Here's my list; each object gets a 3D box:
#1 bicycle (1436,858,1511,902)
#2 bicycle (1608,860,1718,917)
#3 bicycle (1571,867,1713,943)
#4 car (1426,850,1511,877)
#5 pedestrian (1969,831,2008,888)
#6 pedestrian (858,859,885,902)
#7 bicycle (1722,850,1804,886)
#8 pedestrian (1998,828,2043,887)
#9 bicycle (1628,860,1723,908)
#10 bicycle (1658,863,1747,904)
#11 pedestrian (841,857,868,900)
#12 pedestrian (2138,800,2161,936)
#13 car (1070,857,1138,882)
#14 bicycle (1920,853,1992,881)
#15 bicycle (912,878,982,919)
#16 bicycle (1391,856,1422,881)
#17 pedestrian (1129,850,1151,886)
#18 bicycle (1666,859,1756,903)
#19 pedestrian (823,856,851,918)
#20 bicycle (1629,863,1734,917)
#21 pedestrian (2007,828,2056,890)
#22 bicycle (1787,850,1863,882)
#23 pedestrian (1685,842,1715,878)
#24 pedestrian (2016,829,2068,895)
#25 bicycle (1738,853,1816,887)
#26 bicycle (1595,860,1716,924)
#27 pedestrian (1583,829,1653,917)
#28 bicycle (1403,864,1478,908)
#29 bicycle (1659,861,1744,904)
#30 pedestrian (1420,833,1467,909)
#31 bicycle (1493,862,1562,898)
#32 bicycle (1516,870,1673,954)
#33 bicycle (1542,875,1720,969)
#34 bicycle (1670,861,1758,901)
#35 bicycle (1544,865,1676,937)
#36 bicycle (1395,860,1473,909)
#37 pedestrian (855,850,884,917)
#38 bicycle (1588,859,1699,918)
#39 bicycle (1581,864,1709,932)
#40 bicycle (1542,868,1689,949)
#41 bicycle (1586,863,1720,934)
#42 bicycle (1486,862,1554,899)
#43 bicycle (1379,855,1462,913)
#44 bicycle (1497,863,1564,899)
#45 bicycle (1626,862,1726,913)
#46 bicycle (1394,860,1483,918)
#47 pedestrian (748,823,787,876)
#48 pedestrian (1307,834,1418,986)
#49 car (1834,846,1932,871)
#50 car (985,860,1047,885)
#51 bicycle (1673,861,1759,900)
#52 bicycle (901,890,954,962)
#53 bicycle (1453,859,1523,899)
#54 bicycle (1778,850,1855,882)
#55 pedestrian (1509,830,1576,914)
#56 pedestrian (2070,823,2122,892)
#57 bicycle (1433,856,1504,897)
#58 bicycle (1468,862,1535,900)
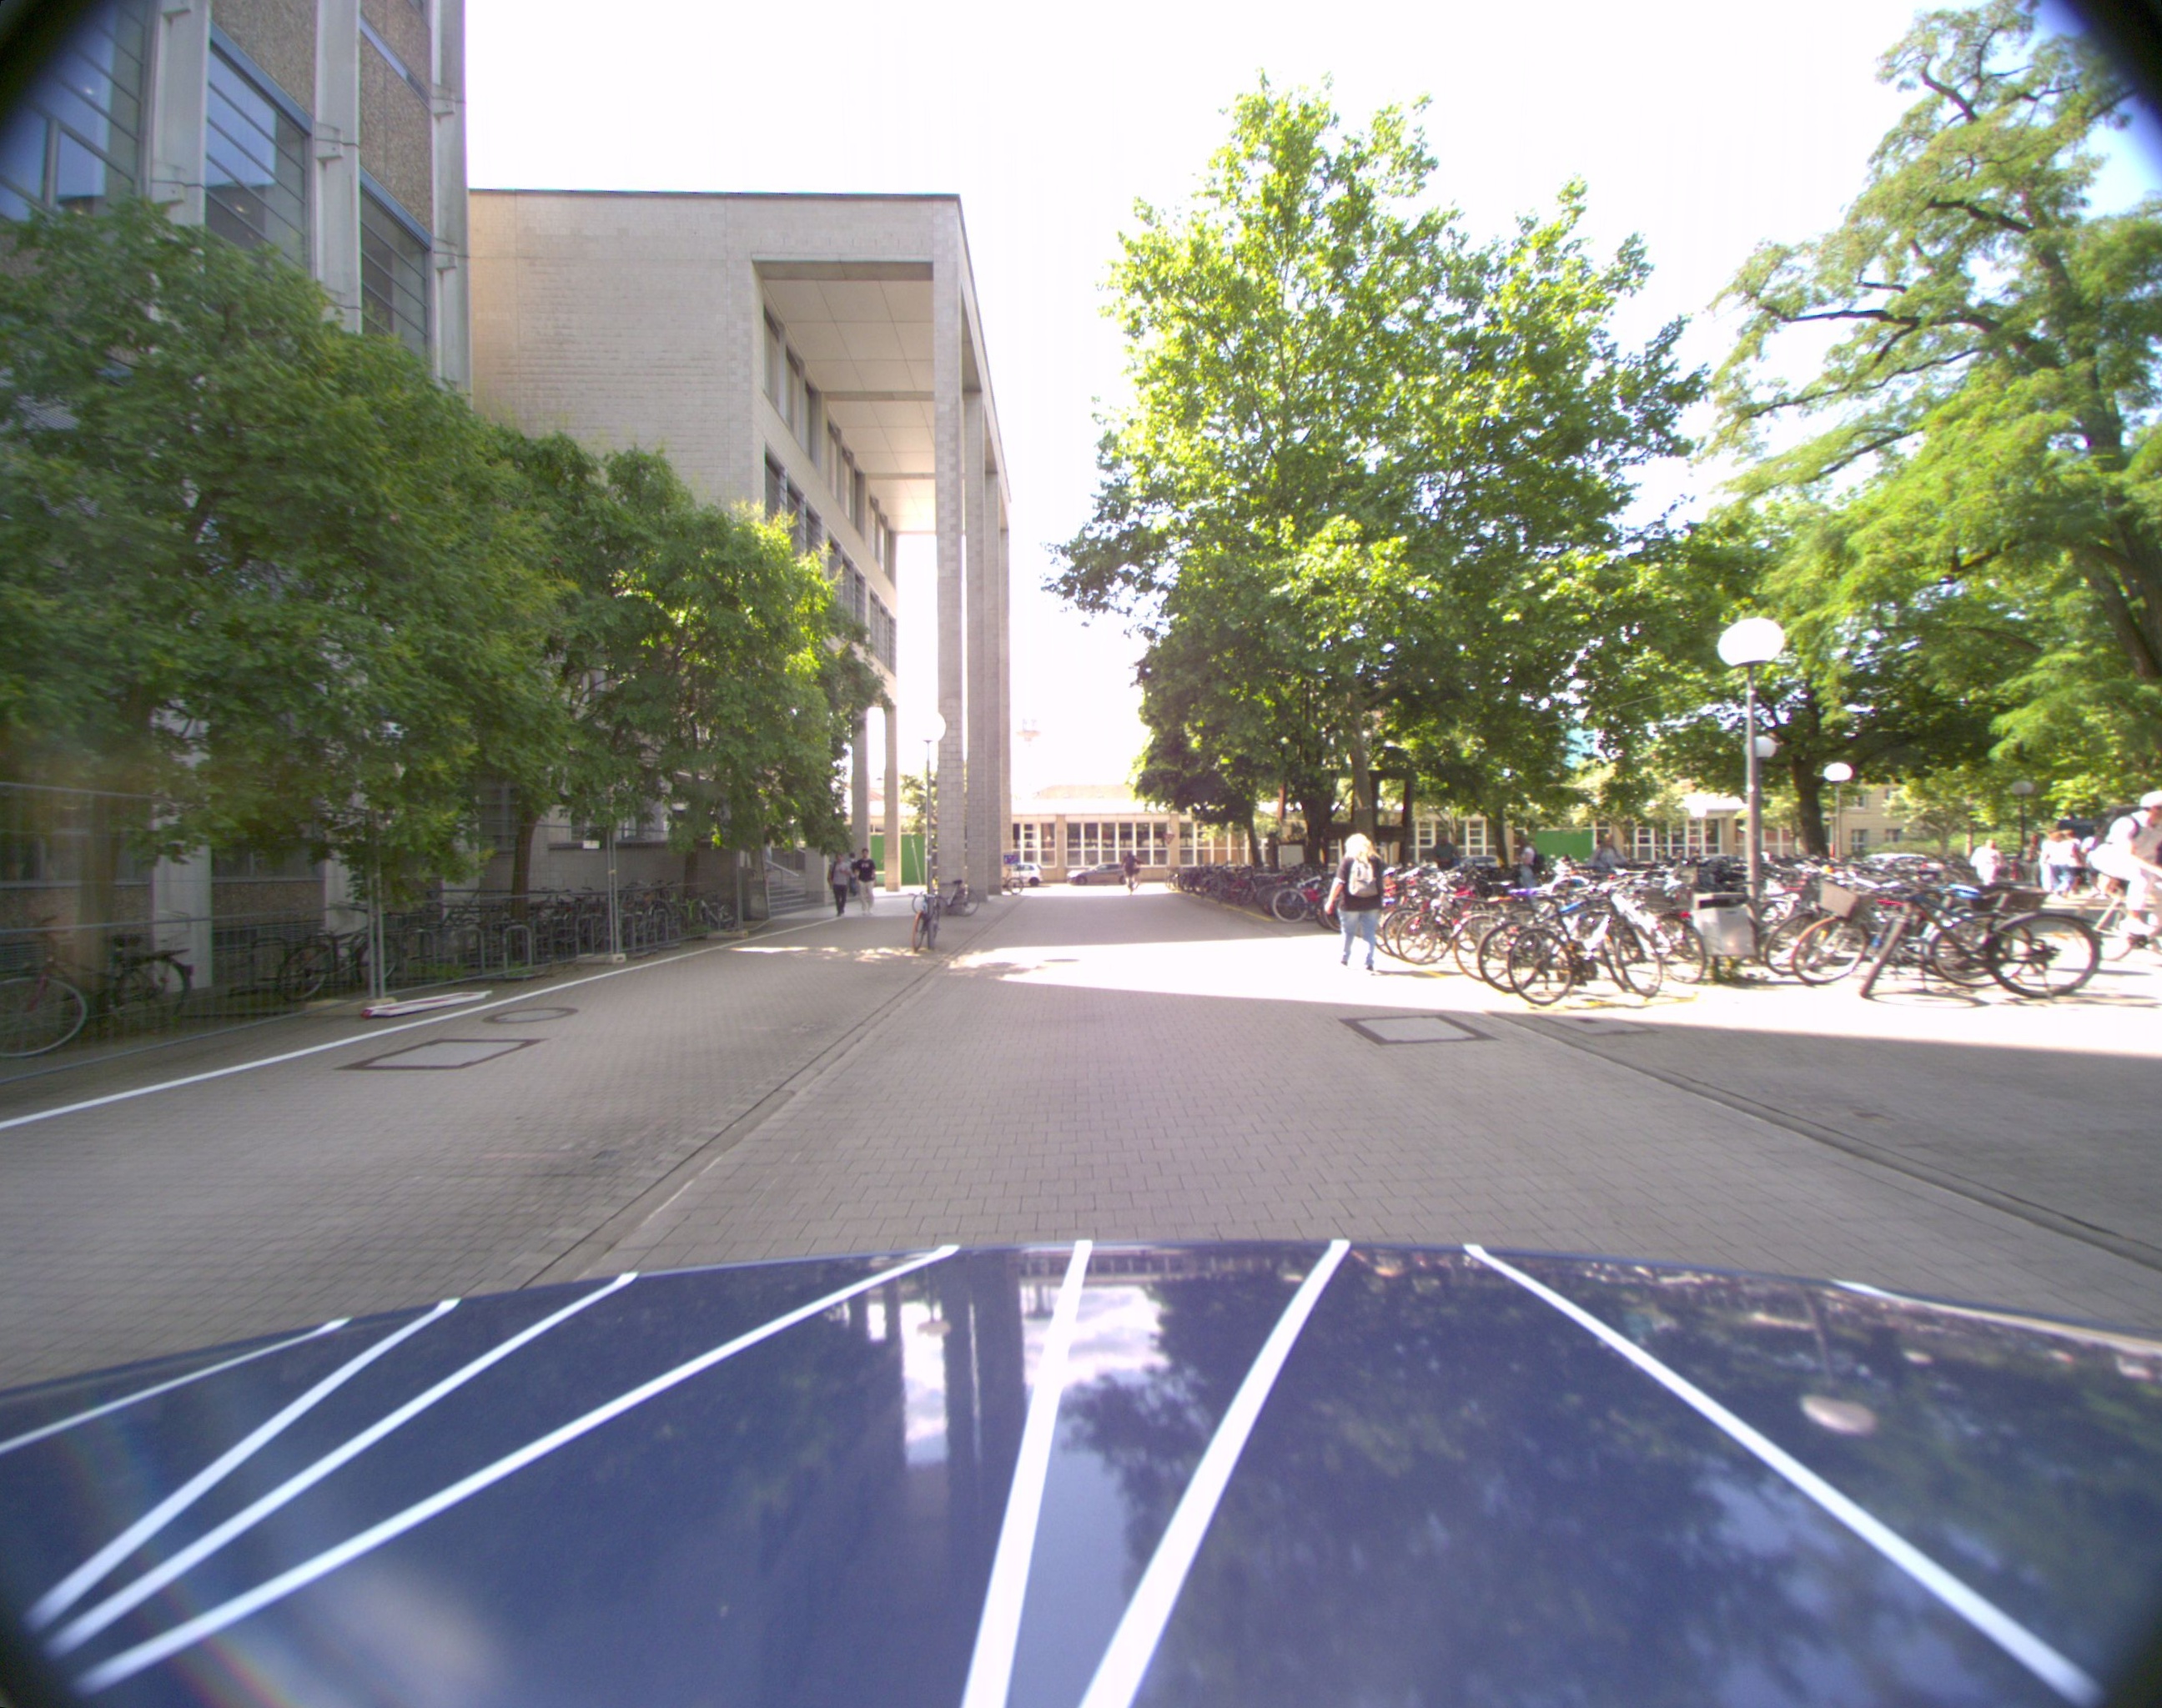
[{"bbox_3d":[10.397,0.687,20.151,1.695,1.101,0.504,-1,1,36],"label":"bicycle"},{"bbox_3d":[11.641,0.679,15.245,1.695,1.077,0.475,-1,1,44],"label":"bicycle"},{"bbox_3d":[8.483,0.754,11.568,1.695,1.077,0.475,-1,1,31],"label":"bicycle"},{"bbox_3d":[24.826,0.582,48.811,4.536,1.608,1.837,-1,1,-2],"label":"car"},{"bbox_3d":[28.441,0.169,23.819,0.671,1.761,0.502,-2,1,-9],"label":"pedestrian"},{"bbox_3d":[-7.852,0.977,28.442,0.809,1.608,0.739,-1,1,-32],"label":"pedestrian"},{"bbox_3d":[21.354,0.427,23.814,0.475,1.077,1.854,-2,1,-38],"label":"bicycle"},{"bbox_3d":[28.536,0.109,23.086,0.659,1.764,0.609,-2,1,-9],"label":"pedestrian"},{"bbox_3d":[14.071,0.688,18.029,0.475,1.077,1.695,-2,1,-38],"label":"bicycle"},{"bbox_3d":[17.366,0.801,21.279,0.475,1.077,1.854,-2,1,-38],"label":"bicycle"},{"bbox_3d":[-8.853,0.959,29.680,0.899,1.660,0.675,-1,0,-7],"label":"pedestrian"},{"bbox_3d":[14.787,0.170,10.110,0.884,1.804,0.832,-2,1,-36],"label":"pedestrian"},{"bbox_3d":[1.444,0.991,48.629,4.209,1.468,1.653,-1,2,-1],"label":"car"},{"bbox_3d":[35.174,0.492,30.576,0.474,1.077,1.856,-2,1,-17],"label":"bicycle"},{"bbox_3d":[-3.461,1.146,19.728,1.744,1.033,0.449,0,-1,-5],"label":"bicycle"},{"bbox_3d":[15.670,0.686,36.567,0.803,1.165,1.890,-2,0,41],"label":"bicycle"},{"bbox_3d":[2.785,0.662,36.056,0.883,1.645,0.702,-1,0,-8],"label":"pedestrian"},{"bbox_3d":[15.976,0.670,19.297,0.475,1.077,1.695,-2,1,-38],"label":"bicycle"},{"bbox_3d":[-6.653,0.886,20.704,0.703,1.645,0.881,-1,0,-18],"label":"pedestrian"},{"bbox_3d":[12.626,0.739,16.009,1.695,1.077,0.475,-1,1,44],"label":"bicycle"},{"bbox_3d":[26.263,0.139,20.999,0.908,1.670,0.768,-2,1,-34],"label":"pedestrian"},{"bbox_3d":[26.203,0.419,26.778,0.475,1.077,1.854,-2,1,-38],"label":"bicycle"},{"bbox_3d":[29.838,0.287,36.626,0.874,1.674,0.728,-1,0,-4],"label":"pedestrian"},{"bbox_3d":[25.188,0.204,19.921,0.908,1.670,0.768,-2,1,-34],"label":"pedestrian"},{"bbox_3d":[23.157,0.529,25.307,0.475,1.077,1.854,-2,1,-38],"label":"bicycle"},{"bbox_3d":[10.244,0.661,13.616,1.695,1.077,0.475,-1,1,35],"label":"bicycle"},{"bbox_3d":[10.728,0.364,15.199,0.771,1.693,0.905,-2,1,-34],"label":"pedestrian"},{"bbox_3d":[9.335,0.824,19.753,1.695,1.101,0.504,-1,1,36],"label":"bicycle"},{"bbox_3d":[16.578,0.748,20.327,0.475,1.077,1.695,-2,1,-38],"label":"bicycle"},{"bbox_3d":[8.837,0.393,18.528,0.771,1.796,0.708,-2,1,-33],"label":"pedestrian"},{"bbox_3d":[14.587,0.838,24.873,0.504,1.101,1.902,-2,1,-38],"label":"bicycle"},{"bbox_3d":[6.933,0.783,10.321,1.696,1.077,0.474,-1,1,13],"label":"bicycle"},{"bbox_3d":[6.651,0.820,9.247,1.697,1.077,0.474,-1,1,12],"label":"bicycle"},{"bbox_3d":[17.890,0.750,21.514,0.475,1.077,1.854,-2,1,-38],"label":"bicycle"},{"bbox_3d":[8.426,0.731,12.179,1.695,1.077,0.475,-1,1,31],"label":"bicycle"},{"bbox_3d":[8.941,0.761,19.269,1.695,1.193,0.577,-1,1,36],"label":"bicycle"},{"bbox_3d":[-5.848,0.792,21.004,0.703,1.792,0.881,-1,0,-18],"label":"pedestrian"},{"bbox_3d":[10.768,0.647,14.601,1.695,1.077,0.475,-1,1,35],"label":"bicycle"},{"bbox_3d":[9.426,0.715,12.761,1.695,1.077,0.475,-1,1,35],"label":"bicycle"},{"bbox_3d":[7.690,0.760,10.989,1.695,1.077,0.475,-1,1,35],"label":"bicycle"},{"bbox_3d":[9.224,0.703,12.318,1.695,1.077,0.475,-1,1,35],"label":"bicycle"},{"bbox_3d":[13.744,0.811,23.841,0.504,1.101,1.775,-2,1,-38],"label":"bicycle"},{"bbox_3d":[7.521,0.648,16.835,1.700,1.213,0.502,-2,1,-12],"label":"bicycle"},{"bbox_3d":[14.332,0.834,24.270,0.504,1.101,1.775,-2,1,-38],"label":"bicycle"},{"bbox_3d":[13.331,0.735,17.057,0.475,1.077,1.695,-2,1,-38],"label":"bicycle"},{"bbox_3d":[7.426,0.711,15.777,1.700,1.101,0.502,-2,1,-12],"label":"bicycle"},{"bbox_3d":[-10.875,-0.161,26.400,0.959,1.803,0.770,-2,1,0],"label":"pedestrian"},{"bbox_3d":[3.342,0.633,9.069,0.770,1.670,0.905,-3,1,-21],"label":"pedestrian"},{"bbox_3d":[51.728,0.277,49.055,4.536,1.532,1.838,-1,0,-2],"label":"car"},{"bbox_3d":[-4.108,1.163,48.424,3.776,1.468,1.653,0,2,-1],"label":"car"},{"bbox_3d":[18.424,0.748,22.093,0.475,1.077,1.854,-2,1,-38],"label":"bicycle"},{"bbox_3d":[-2.575,1.182,12.883,0.538,1.033,1.858,0,0,-1],"label":"bicycle"},{"bbox_3d":[11.814,0.710,22.080,1.695,1.101,0.633,-1,1,40],"label":"bicycle"},{"bbox_3d":[25.564,0.415,26.436,0.475,1.077,1.854,-2,1,-38],"label":"bicycle"},{"bbox_3d":[9.571,0.365,15.780,0.906,1.693,0.770,-1,1,5],"label":"pedestrian"},{"bbox_3d":[26.764,0.084,20.037,0.908,1.764,0.768,-2,1,-34],"label":"pedestrian"},{"bbox_3d":[10.886,0.614,21.380,1.695,1.101,0.504,-1,1,40],"label":"bicycle"},{"bbox_3d":[12.675,0.796,22.951,1.695,1.101,0.504,-1,1,40],"label":"bicycle"}]
